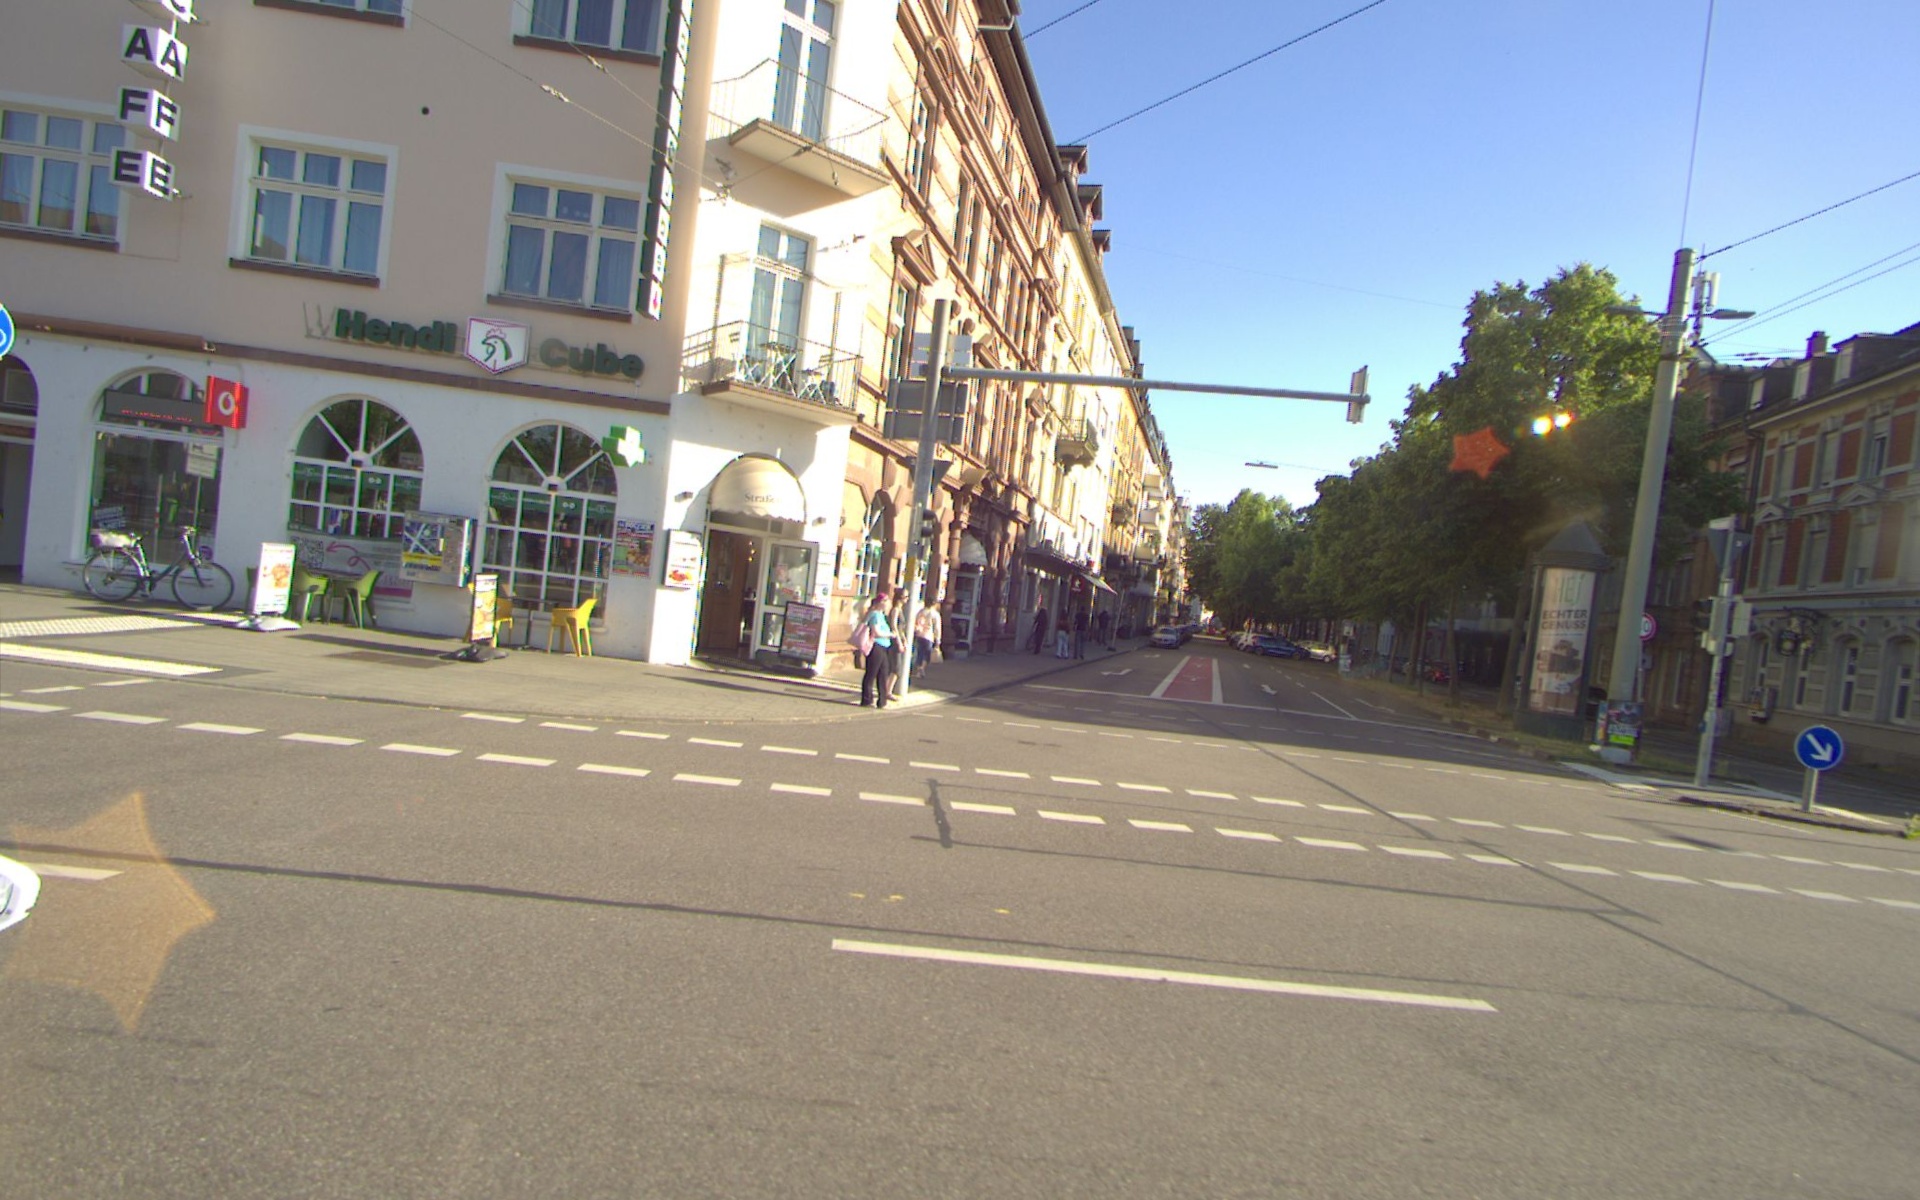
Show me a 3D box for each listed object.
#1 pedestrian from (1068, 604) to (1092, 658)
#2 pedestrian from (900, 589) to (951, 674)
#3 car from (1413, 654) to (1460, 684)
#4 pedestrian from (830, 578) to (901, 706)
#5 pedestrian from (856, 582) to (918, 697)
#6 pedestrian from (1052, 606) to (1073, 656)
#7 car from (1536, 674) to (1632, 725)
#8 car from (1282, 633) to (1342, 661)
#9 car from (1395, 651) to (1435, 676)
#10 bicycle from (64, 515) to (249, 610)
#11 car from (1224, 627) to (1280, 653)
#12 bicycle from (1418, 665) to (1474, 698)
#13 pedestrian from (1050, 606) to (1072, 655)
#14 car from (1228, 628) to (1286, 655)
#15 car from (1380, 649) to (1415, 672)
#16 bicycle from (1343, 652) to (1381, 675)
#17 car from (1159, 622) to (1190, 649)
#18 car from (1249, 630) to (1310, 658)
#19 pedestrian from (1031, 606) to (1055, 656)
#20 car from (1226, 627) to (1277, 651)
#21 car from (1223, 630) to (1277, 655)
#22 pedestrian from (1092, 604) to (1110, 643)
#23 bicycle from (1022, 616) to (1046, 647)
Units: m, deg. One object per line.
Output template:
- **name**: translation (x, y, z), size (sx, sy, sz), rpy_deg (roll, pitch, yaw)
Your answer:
- **pedestrian**: translation (4.311, 1.093, 36.013), size (0.570, 1.860, 0.632), rpy_deg (7, 2, 13)
- **pedestrian**: translation (-0.663, 0.606, 19.437), size (0.682, 1.544, 0.660), rpy_deg (7, 2, 11)
- **car**: translation (31.868, 4.587, 67.367), size (1.962, 1.516, 4.033), rpy_deg (7, 1, 15)
- **pedestrian**: translation (-1.301, 0.573, 13.922), size (0.664, 1.663, 0.578), rpy_deg (7, 2, 11)
- **pedestrian**: translation (-1.115, 0.591, 15.423), size (0.621, 1.663, 0.552), rpy_deg (8, 2, 11)
- **pedestrian**: translation (3.564, 1.081, 34.946), size (0.542, 1.663, 0.537), rpy_deg (7, 2, 8)
- **car**: translation (25.839, 4.085, 41.820), size (1.962, 1.516, 4.033), rpy_deg (7, 1, 12)
- **car**: translation (26.687, 3.563, 76.307), size (3.931, 1.565, 1.996), rpy_deg (7, 1, 28)
- **car**: translation (34.473, 4.784, 76.282), size (1.962, 1.516, 4.033), rpy_deg (7, 1, 15)
- **bicycle**: translation (-11.260, -0.517, 14.146), size (1.916, 1.081, 0.582), rpy_deg (7, 2, -10)
- **car**: translation (23.601, 3.240, 81.236), size (3.929, 1.565, 1.997), rpy_deg (7, 1, 26)
- **bicycle**: translation (20.238, 3.393, 41.900), size (0.578, 1.081, 1.928), rpy_deg (5, 2, -39)
- **pedestrian**: translation (3.589, 1.071, 35.840), size (0.542, 1.663, 0.633), rpy_deg (7, 2, 10)
- **car**: translation (23.134, 3.227, 78.436), size (3.929, 1.565, 1.997), rpy_deg (7, 1, 26)
- **car**: translation (36.164, 4.973, 83.243), size (1.962, 1.516, 4.033), rpy_deg (7, 1, 15)
- **bicycle**: translation (23.400, 3.689, 58.545), size (0.578, 1.081, 1.928), rpy_deg (5, 2, -39)
- **car**: translation (15.206, 2.494, 71.330), size (1.962, 1.516, 4.033), rpy_deg (7, 1, 12)
- **car**: translation (23.837, 3.251, 75.069), size (3.929, 1.565, 1.997), rpy_deg (7, 1, 26)
- **pedestrian**: translation (2.892, 1.057, 34.953), size (0.617, 1.663, 0.537), rpy_deg (7, 2, 7)
- **car**: translation (25.414, 3.405, 87.686), size (3.929, 1.565, 1.997), rpy_deg (7, 1, 26)
- **car**: translation (24.146, 3.562, 83.831), size (3.929, 1.565, 1.997), rpy_deg (7, 1, 26)
- **pedestrian**: translation (7.372, 1.225, 52.605), size (0.671, 1.933, 0.632), rpy_deg (7, 2, 13)
- **bicycle**: translation (2.802, 1.181, 37.874), size (0.487, 1.081, 1.769), rpy_deg (7, 1, 14)
